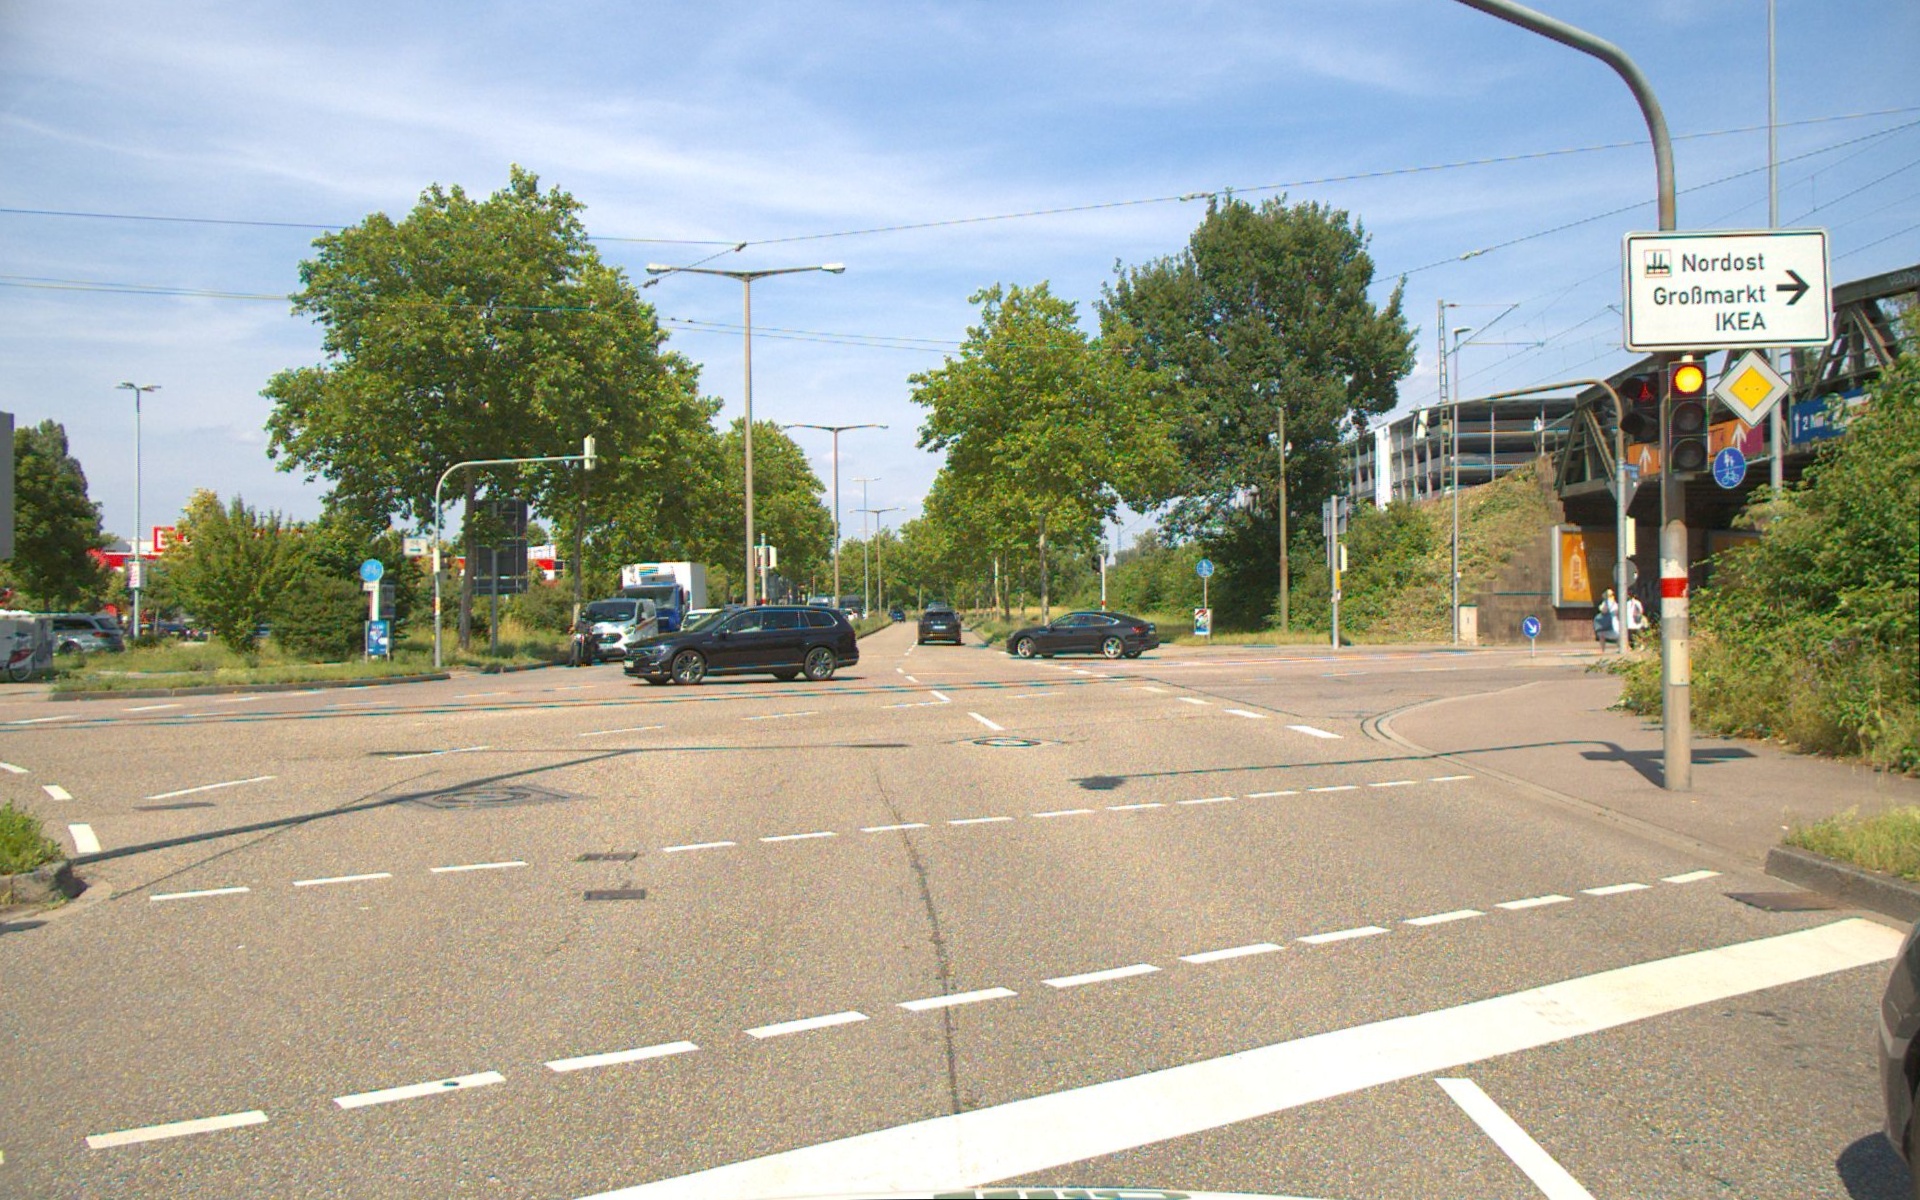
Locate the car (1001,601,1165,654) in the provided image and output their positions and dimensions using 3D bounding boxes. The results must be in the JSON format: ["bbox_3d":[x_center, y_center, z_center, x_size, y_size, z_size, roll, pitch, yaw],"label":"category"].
[{"bbox_3d":[3.663,0.816,49.265,4.512,1.489,1.914,-1,0,22],"label":"car"}]

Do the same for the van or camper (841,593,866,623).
[{"bbox_3d":[-9.059,0.724,140.573,1.899,2.410,5.395,-2,-1,-2],"label":"van or camper"}]

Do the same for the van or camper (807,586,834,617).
[{"bbox_3d":[-12.442,0.135,147.696,1.974,2.633,5.516,-2,0,-1],"label":"van or camper"}]

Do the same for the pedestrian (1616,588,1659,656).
[{"bbox_3d":[16.373,0.521,39.990,0.714,1.607,0.777,-1,0,-1],"label":"pedestrian"}]

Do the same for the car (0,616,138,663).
[{"bbox_3d":[-29.704,1.284,54.201,4.477,1.439,2.197,-1,0,-8],"label":"car"}]

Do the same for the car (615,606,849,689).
[{"bbox_3d":[-4.416,0.880,32.166,4.166,1.468,1.771,-1,0,-31],"label":"car"}]

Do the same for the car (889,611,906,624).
[{"bbox_3d":[-7.326,2.036,193.955,1.767,1.537,3.810,-1,0,-6],"label":"car"}]

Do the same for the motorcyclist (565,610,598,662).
[{"bbox_3d":[-10.996,1.042,48.076,0.728,1.496,0.987,-1,0,-1],"label":"motorcyclist"}]

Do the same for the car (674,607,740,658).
[{"bbox_3d":[-8.032,1.012,52.726,1.560,1.503,3.728,-2,0,-1],"label":"car"}]

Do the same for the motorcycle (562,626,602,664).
[{"bbox_3d":[-10.960,1.291,47.981,0.674,1.009,2.217,-1,0,-1],"label":"motorcycle"}]

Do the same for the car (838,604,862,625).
[{"bbox_3d":[-8.771,1.155,131.686,1.654,1.537,3.814,-2,0,-1],"label":"car"}]

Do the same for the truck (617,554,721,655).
[{"bbox_3d":[-11.043,0.155,63.404,2.747,3.532,6.690,-3,0,-1],"label":"truck"}]

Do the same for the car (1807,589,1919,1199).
[{"bbox_3d":[2.973,0.726,2.115,1.640,1.479,4.035,1,0,-1],"label":"car"}]

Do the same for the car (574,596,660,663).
[{"bbox_3d":[-10.931,0.900,53.043,1.937,2.034,5.028,-1,0,-3],"label":"car"}]

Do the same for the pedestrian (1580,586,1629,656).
[{"bbox_3d":[15.512,0.501,39.819,0.850,1.640,0.777,-1,0,-1],"label":"pedestrian"}]

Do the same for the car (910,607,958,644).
[{"bbox_3d":[-1.106,1.031,68.334,1.798,1.416,4.261,-1,0,-4],"label":"car"}]

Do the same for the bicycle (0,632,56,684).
[{"bbox_3d":[-19.937,1.209,34.698,0.581,1.055,1.897,-1,0,13],"label":"bicycle"}]

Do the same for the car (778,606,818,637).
[{"bbox_3d":[-8.278,1.085,84.741,1.654,1.497,3.814,-2,0,-1],"label":"car"}]
